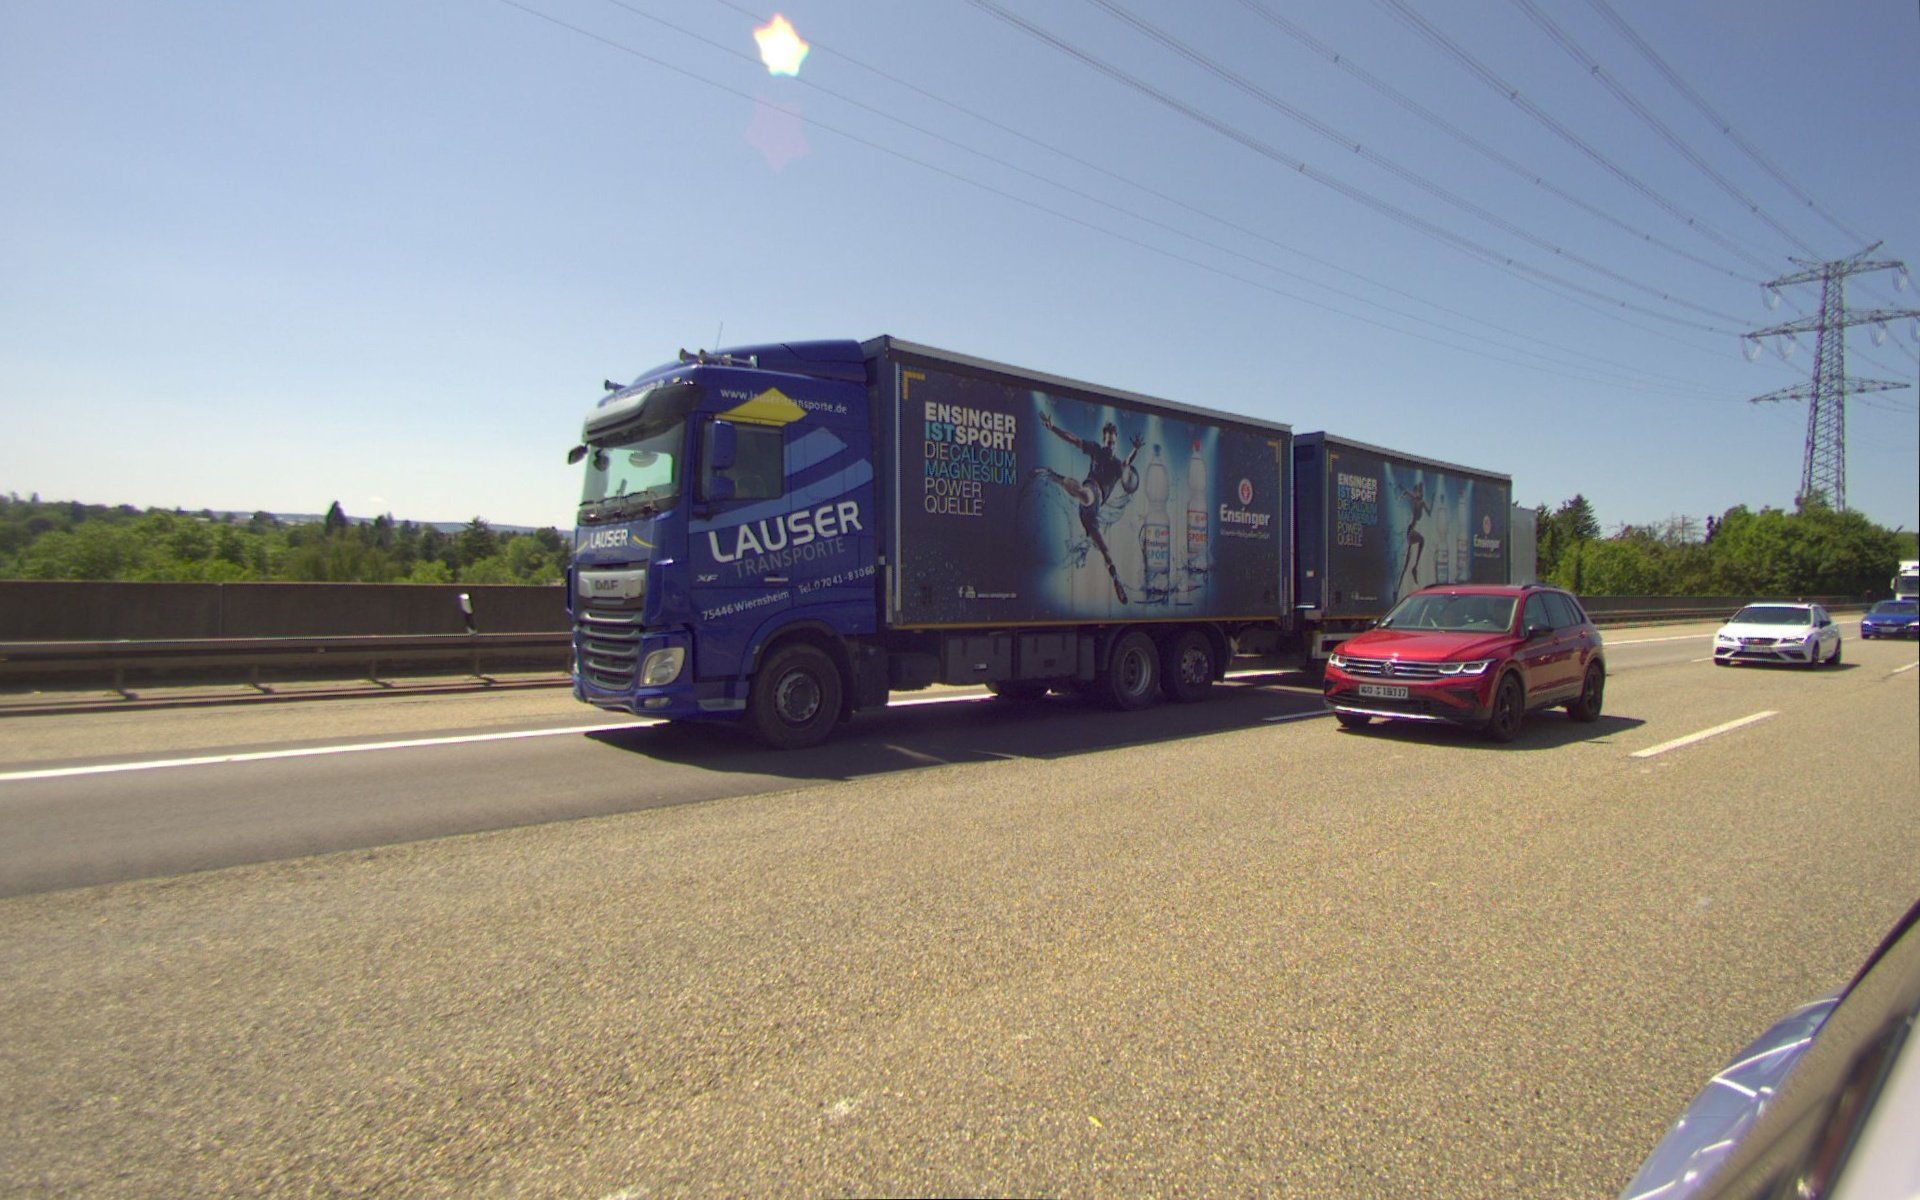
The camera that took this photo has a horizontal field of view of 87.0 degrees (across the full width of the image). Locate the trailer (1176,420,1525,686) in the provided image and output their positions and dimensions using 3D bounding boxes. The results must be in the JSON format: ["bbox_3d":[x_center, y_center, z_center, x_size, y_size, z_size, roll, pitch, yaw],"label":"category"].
[{"bbox_3d":[7.622,-0.725,18.944,8.332,3.994,2.570,0,0,-41],"label":"trailer"}]

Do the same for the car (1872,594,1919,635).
[{"bbox_3d":[35.883,0.519,38.087,4.135,1.463,1.739,0,1,-40],"label":"car"}]

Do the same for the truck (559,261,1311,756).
[{"bbox_3d":[0.586,-0.788,12.768,10.265,4.118,2.527,0,0,-41],"label":"truck"}]

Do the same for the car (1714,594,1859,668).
[{"bbox_3d":[18.594,0.629,22.717,4.000,1.508,1.842,0,0,-40],"label":"car"}]

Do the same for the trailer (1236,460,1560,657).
[{"bbox_3d":[12.227,-0.911,26.912,13.536,4.172,2.539,0,0,-42],"label":"trailer"}]

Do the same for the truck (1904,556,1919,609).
[{"bbox_3d":[69.674,-1.248,71.742,10.778,3.604,2.982,-1,0,-41],"label":"truck"}]

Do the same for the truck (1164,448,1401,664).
[{"bbox_3d":[7.223,-0.870,22.342,5.618,4.171,2.520,0,0,-42],"label":"truck"}]

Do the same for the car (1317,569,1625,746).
[{"bbox_3d":[5.992,0.522,11.654,4.151,1.683,1.778,0,1,-42],"label":"car"}]
